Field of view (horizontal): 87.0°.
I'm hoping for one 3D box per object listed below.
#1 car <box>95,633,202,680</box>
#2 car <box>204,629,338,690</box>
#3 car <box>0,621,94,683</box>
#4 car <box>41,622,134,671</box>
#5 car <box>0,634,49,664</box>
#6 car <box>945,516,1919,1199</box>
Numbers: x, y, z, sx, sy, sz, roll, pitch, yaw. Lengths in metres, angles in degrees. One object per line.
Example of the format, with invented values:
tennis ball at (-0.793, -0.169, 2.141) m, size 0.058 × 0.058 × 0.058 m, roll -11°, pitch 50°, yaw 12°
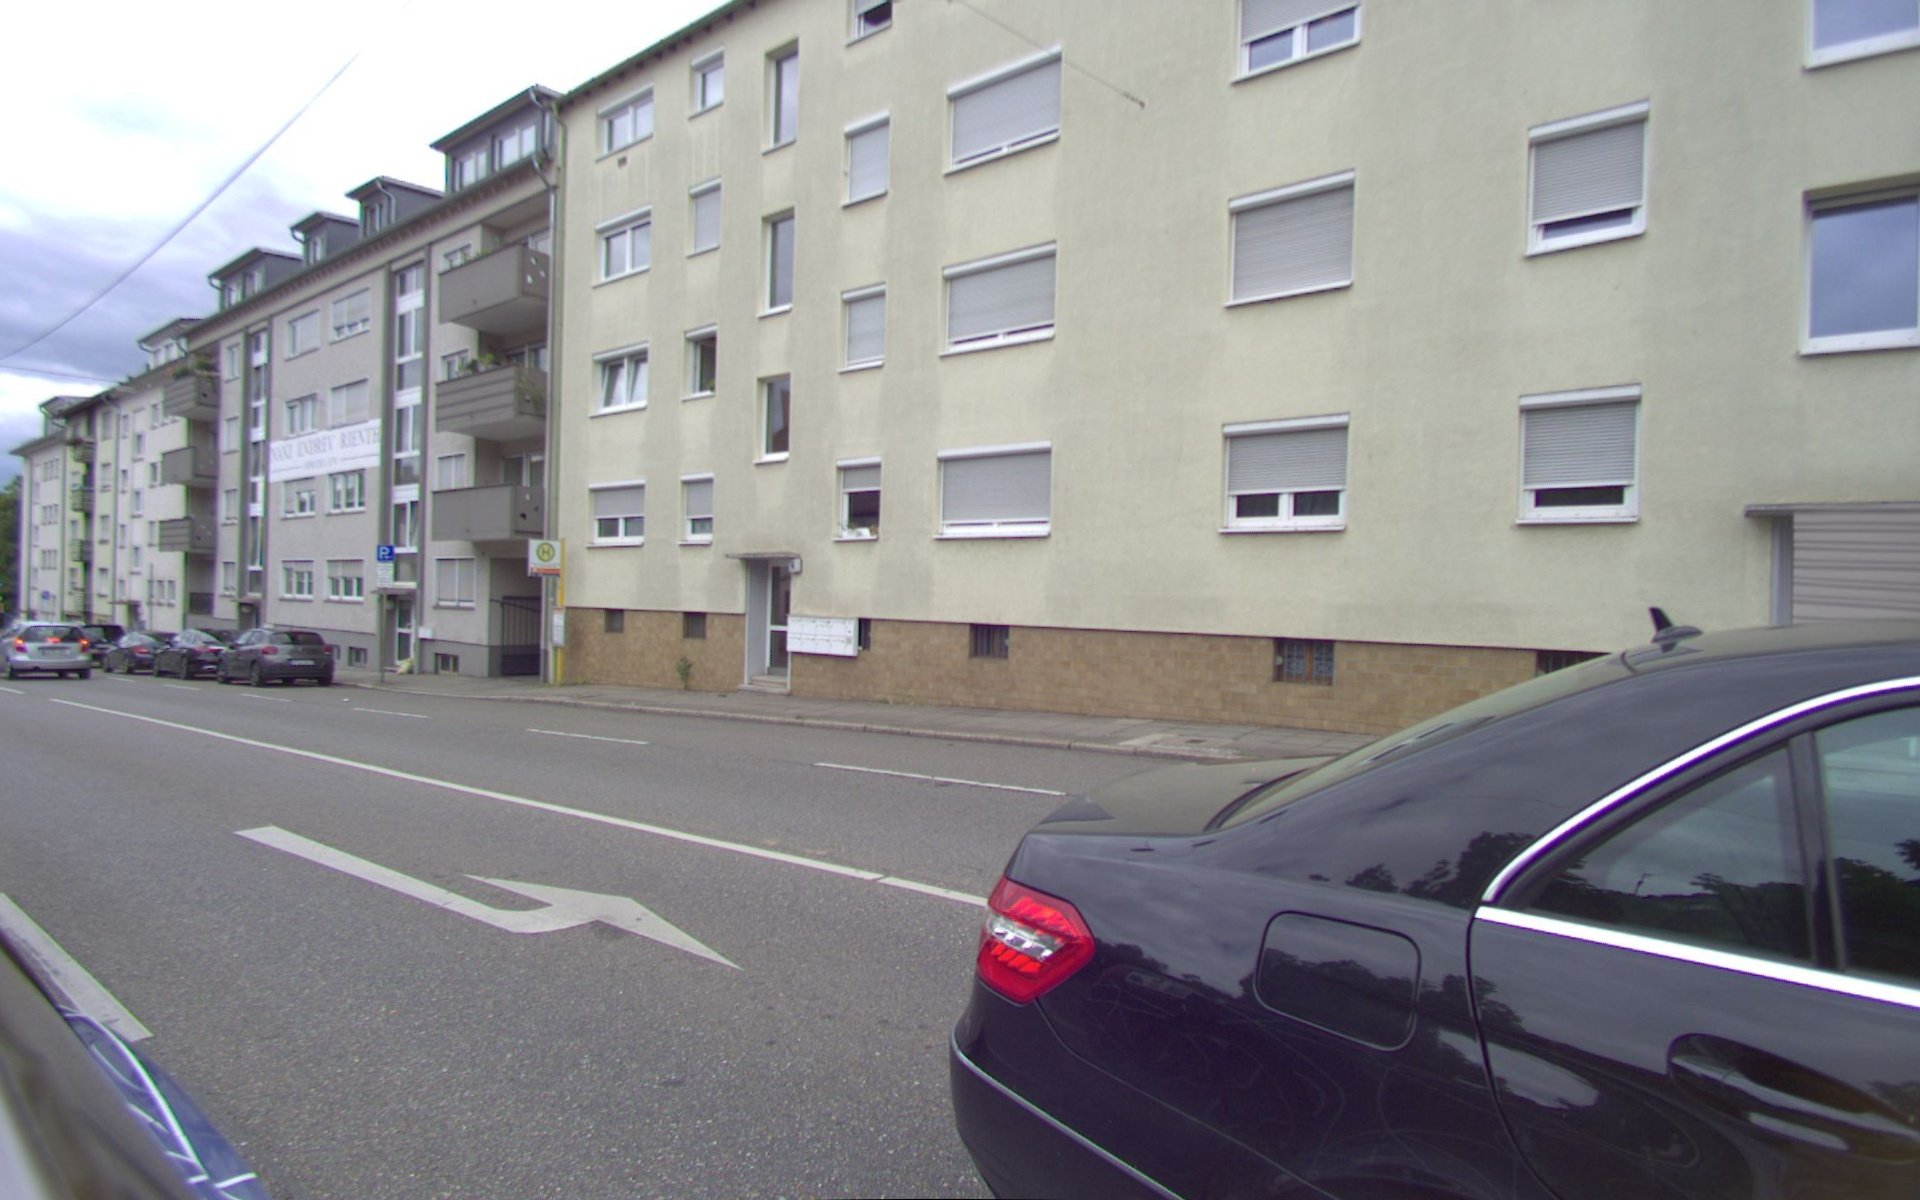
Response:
car at (-26.502, 1.804, 32.995) m, size 4.301 × 1.416 × 1.751 m, roll -1°, pitch -3°, yaw 38°
car at (-17.799, 1.504, 26.102) m, size 3.797 × 1.447 × 1.751 m, roll -1°, pitch -4°, yaw 39°
car at (-25.818, 1.431, 28.306) m, size 3.996 × 1.630 × 1.692 m, roll -1°, pitch -4°, yaw 39°
car at (-33.564, 1.756, 38.896) m, size 4.302 × 1.767 × 1.852 m, roll -1°, pitch -4°, yaw 39°
car at (-46.402, 2.382, 49.716) m, size 4.305 × 1.391 × 1.851 m, roll -1°, pitch -4°, yaw 41°
car at (2.212, 0.642, 1.012) m, size 4.443 × 1.465 × 1.729 m, roll -1°, pitch -1°, yaw 41°
